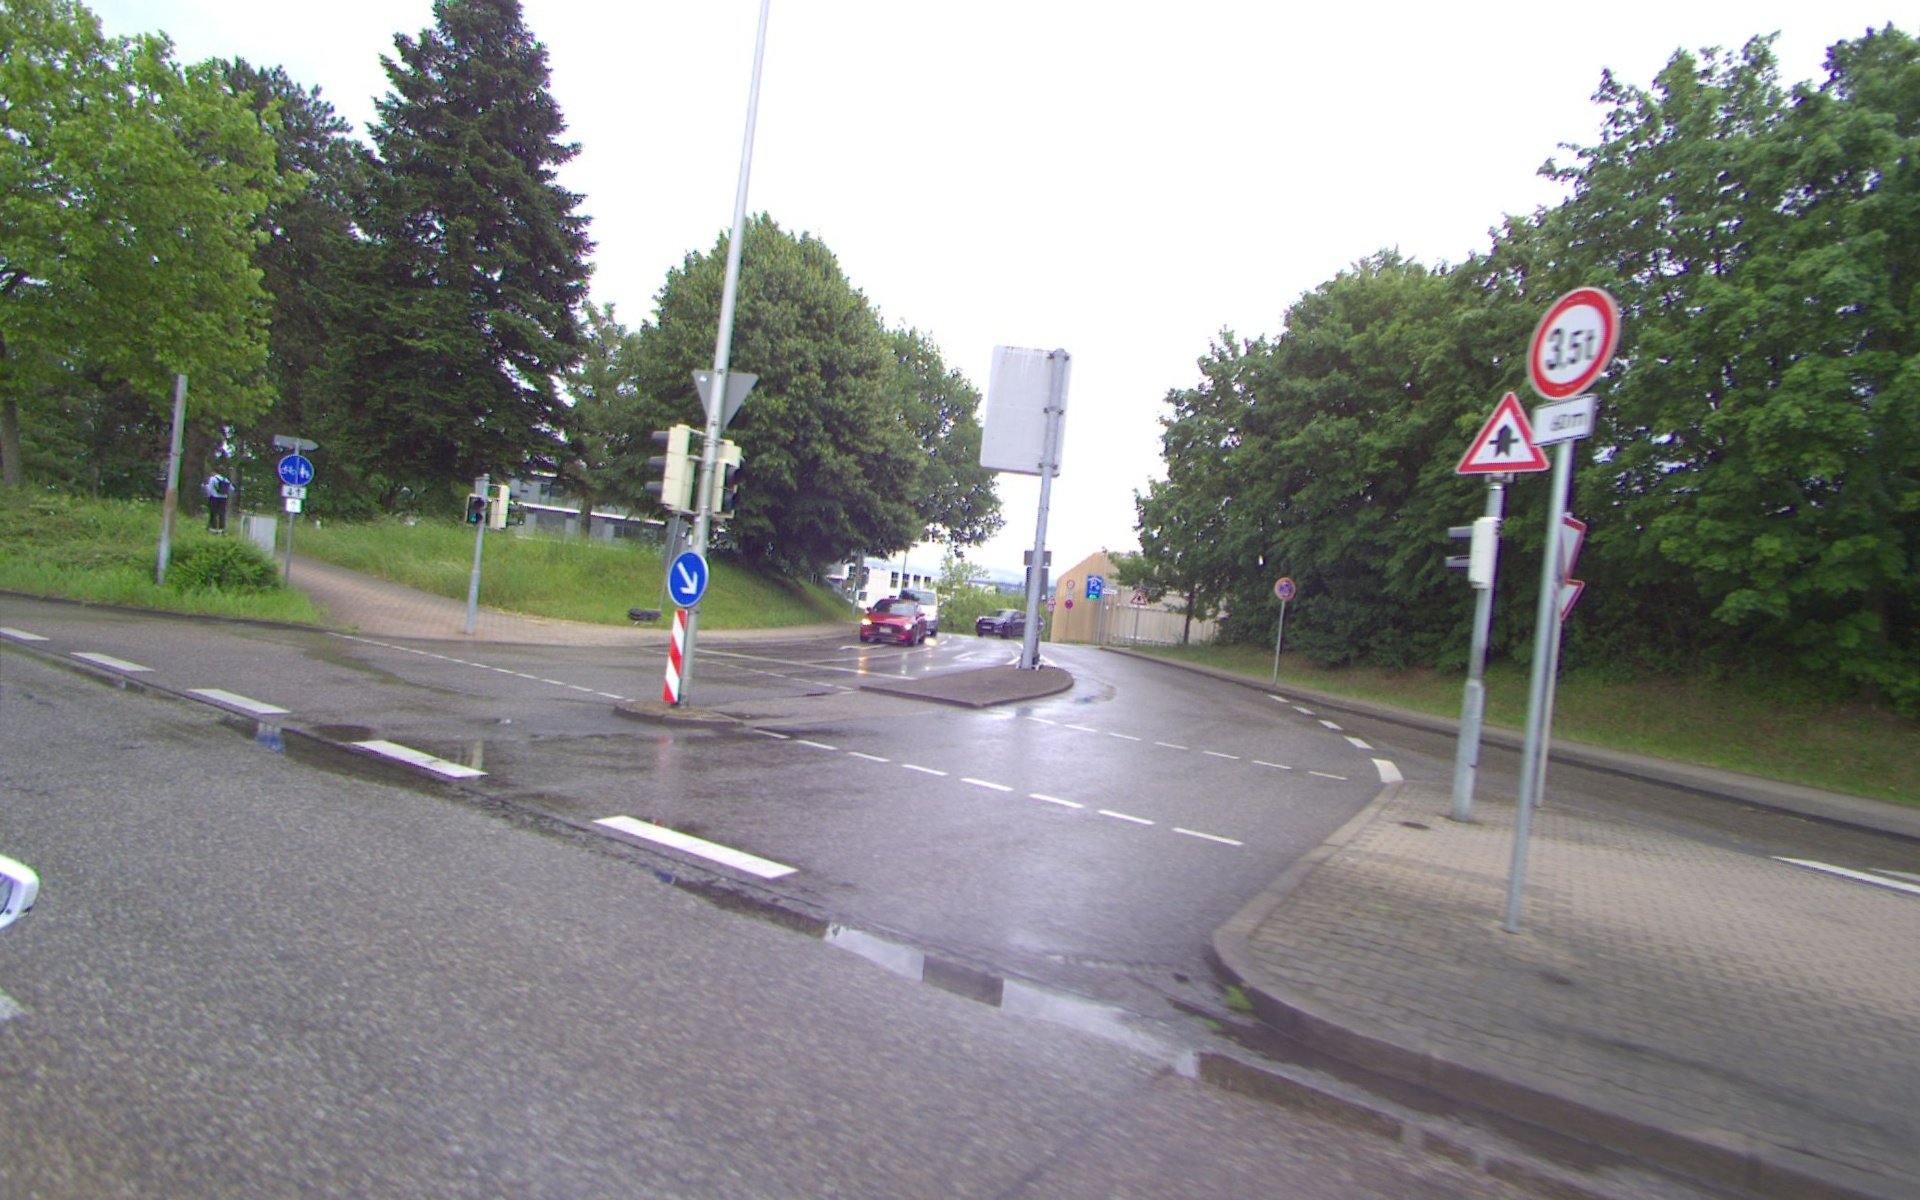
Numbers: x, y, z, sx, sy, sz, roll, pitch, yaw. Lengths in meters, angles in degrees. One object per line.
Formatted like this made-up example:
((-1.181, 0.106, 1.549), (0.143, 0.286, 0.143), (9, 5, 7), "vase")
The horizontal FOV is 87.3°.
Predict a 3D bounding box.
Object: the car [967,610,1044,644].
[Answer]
((2.393, 1.413, 51.708), (1.826, 1.447, 3.980), (6, 1, 40), "car")

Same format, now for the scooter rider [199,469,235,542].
((-21.203, -2.681, 28.715), (0.538, 1.990, 0.501), (8, 1, 31), "scooter rider")

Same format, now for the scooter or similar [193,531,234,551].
((-21.310, -1.687, 28.730), (1.235, 0.408, 0.487), (7, 0, 31), "scooter or similar")

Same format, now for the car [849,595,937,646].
((-2.158, 0.663, 33.347), (1.817, 1.447, 4.000), (5, 0, 11), "car")

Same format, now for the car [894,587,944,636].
((-1.720, 0.463, 43.277), (1.818, 1.883, 3.998), (5, 1, 0), "car")
